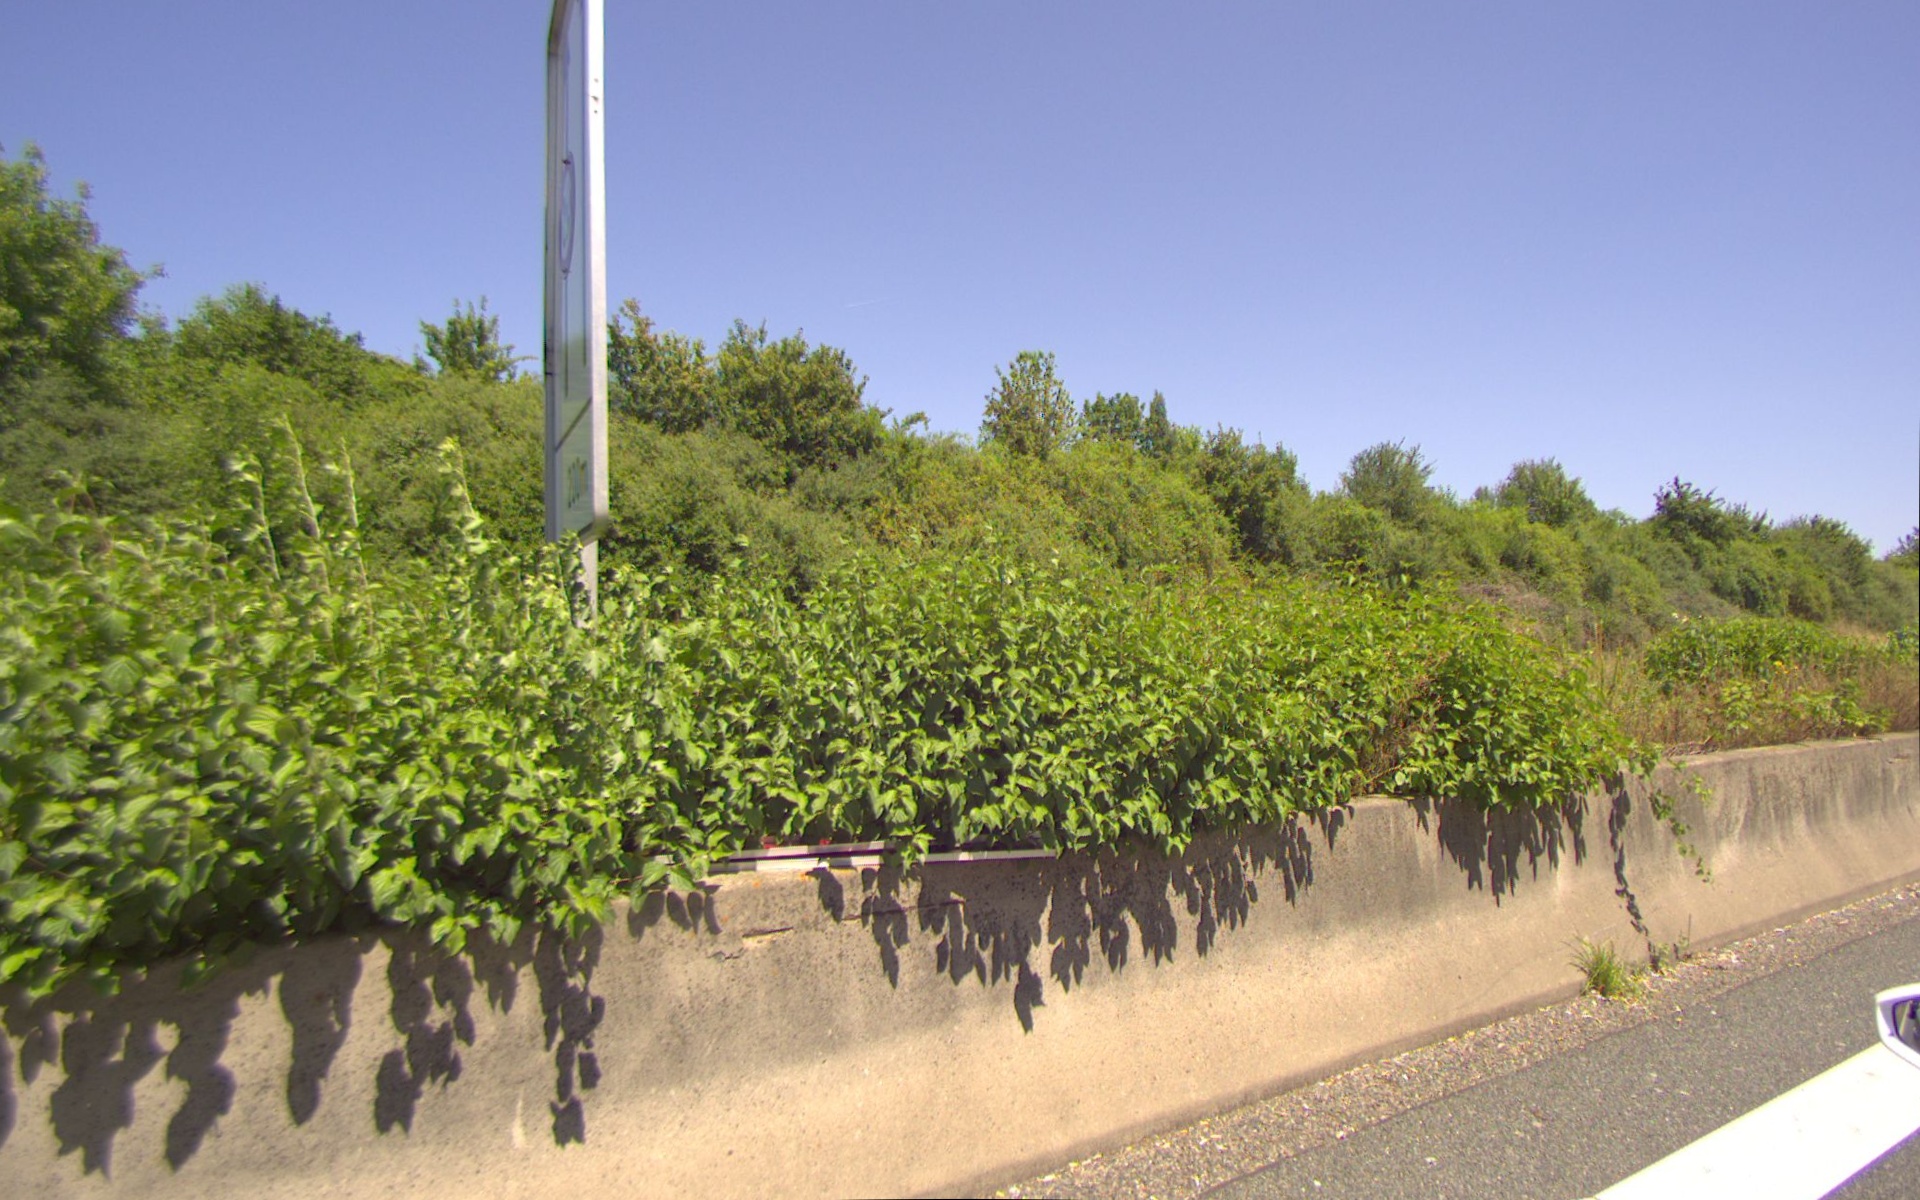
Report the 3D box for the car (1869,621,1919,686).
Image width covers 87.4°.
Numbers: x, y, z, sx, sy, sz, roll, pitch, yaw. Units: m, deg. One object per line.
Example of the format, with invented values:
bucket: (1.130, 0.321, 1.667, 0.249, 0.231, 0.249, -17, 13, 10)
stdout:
car: (33.195, 1.812, 34.307, 4.555, 2.124, 1.983, 1, -2, -32)
